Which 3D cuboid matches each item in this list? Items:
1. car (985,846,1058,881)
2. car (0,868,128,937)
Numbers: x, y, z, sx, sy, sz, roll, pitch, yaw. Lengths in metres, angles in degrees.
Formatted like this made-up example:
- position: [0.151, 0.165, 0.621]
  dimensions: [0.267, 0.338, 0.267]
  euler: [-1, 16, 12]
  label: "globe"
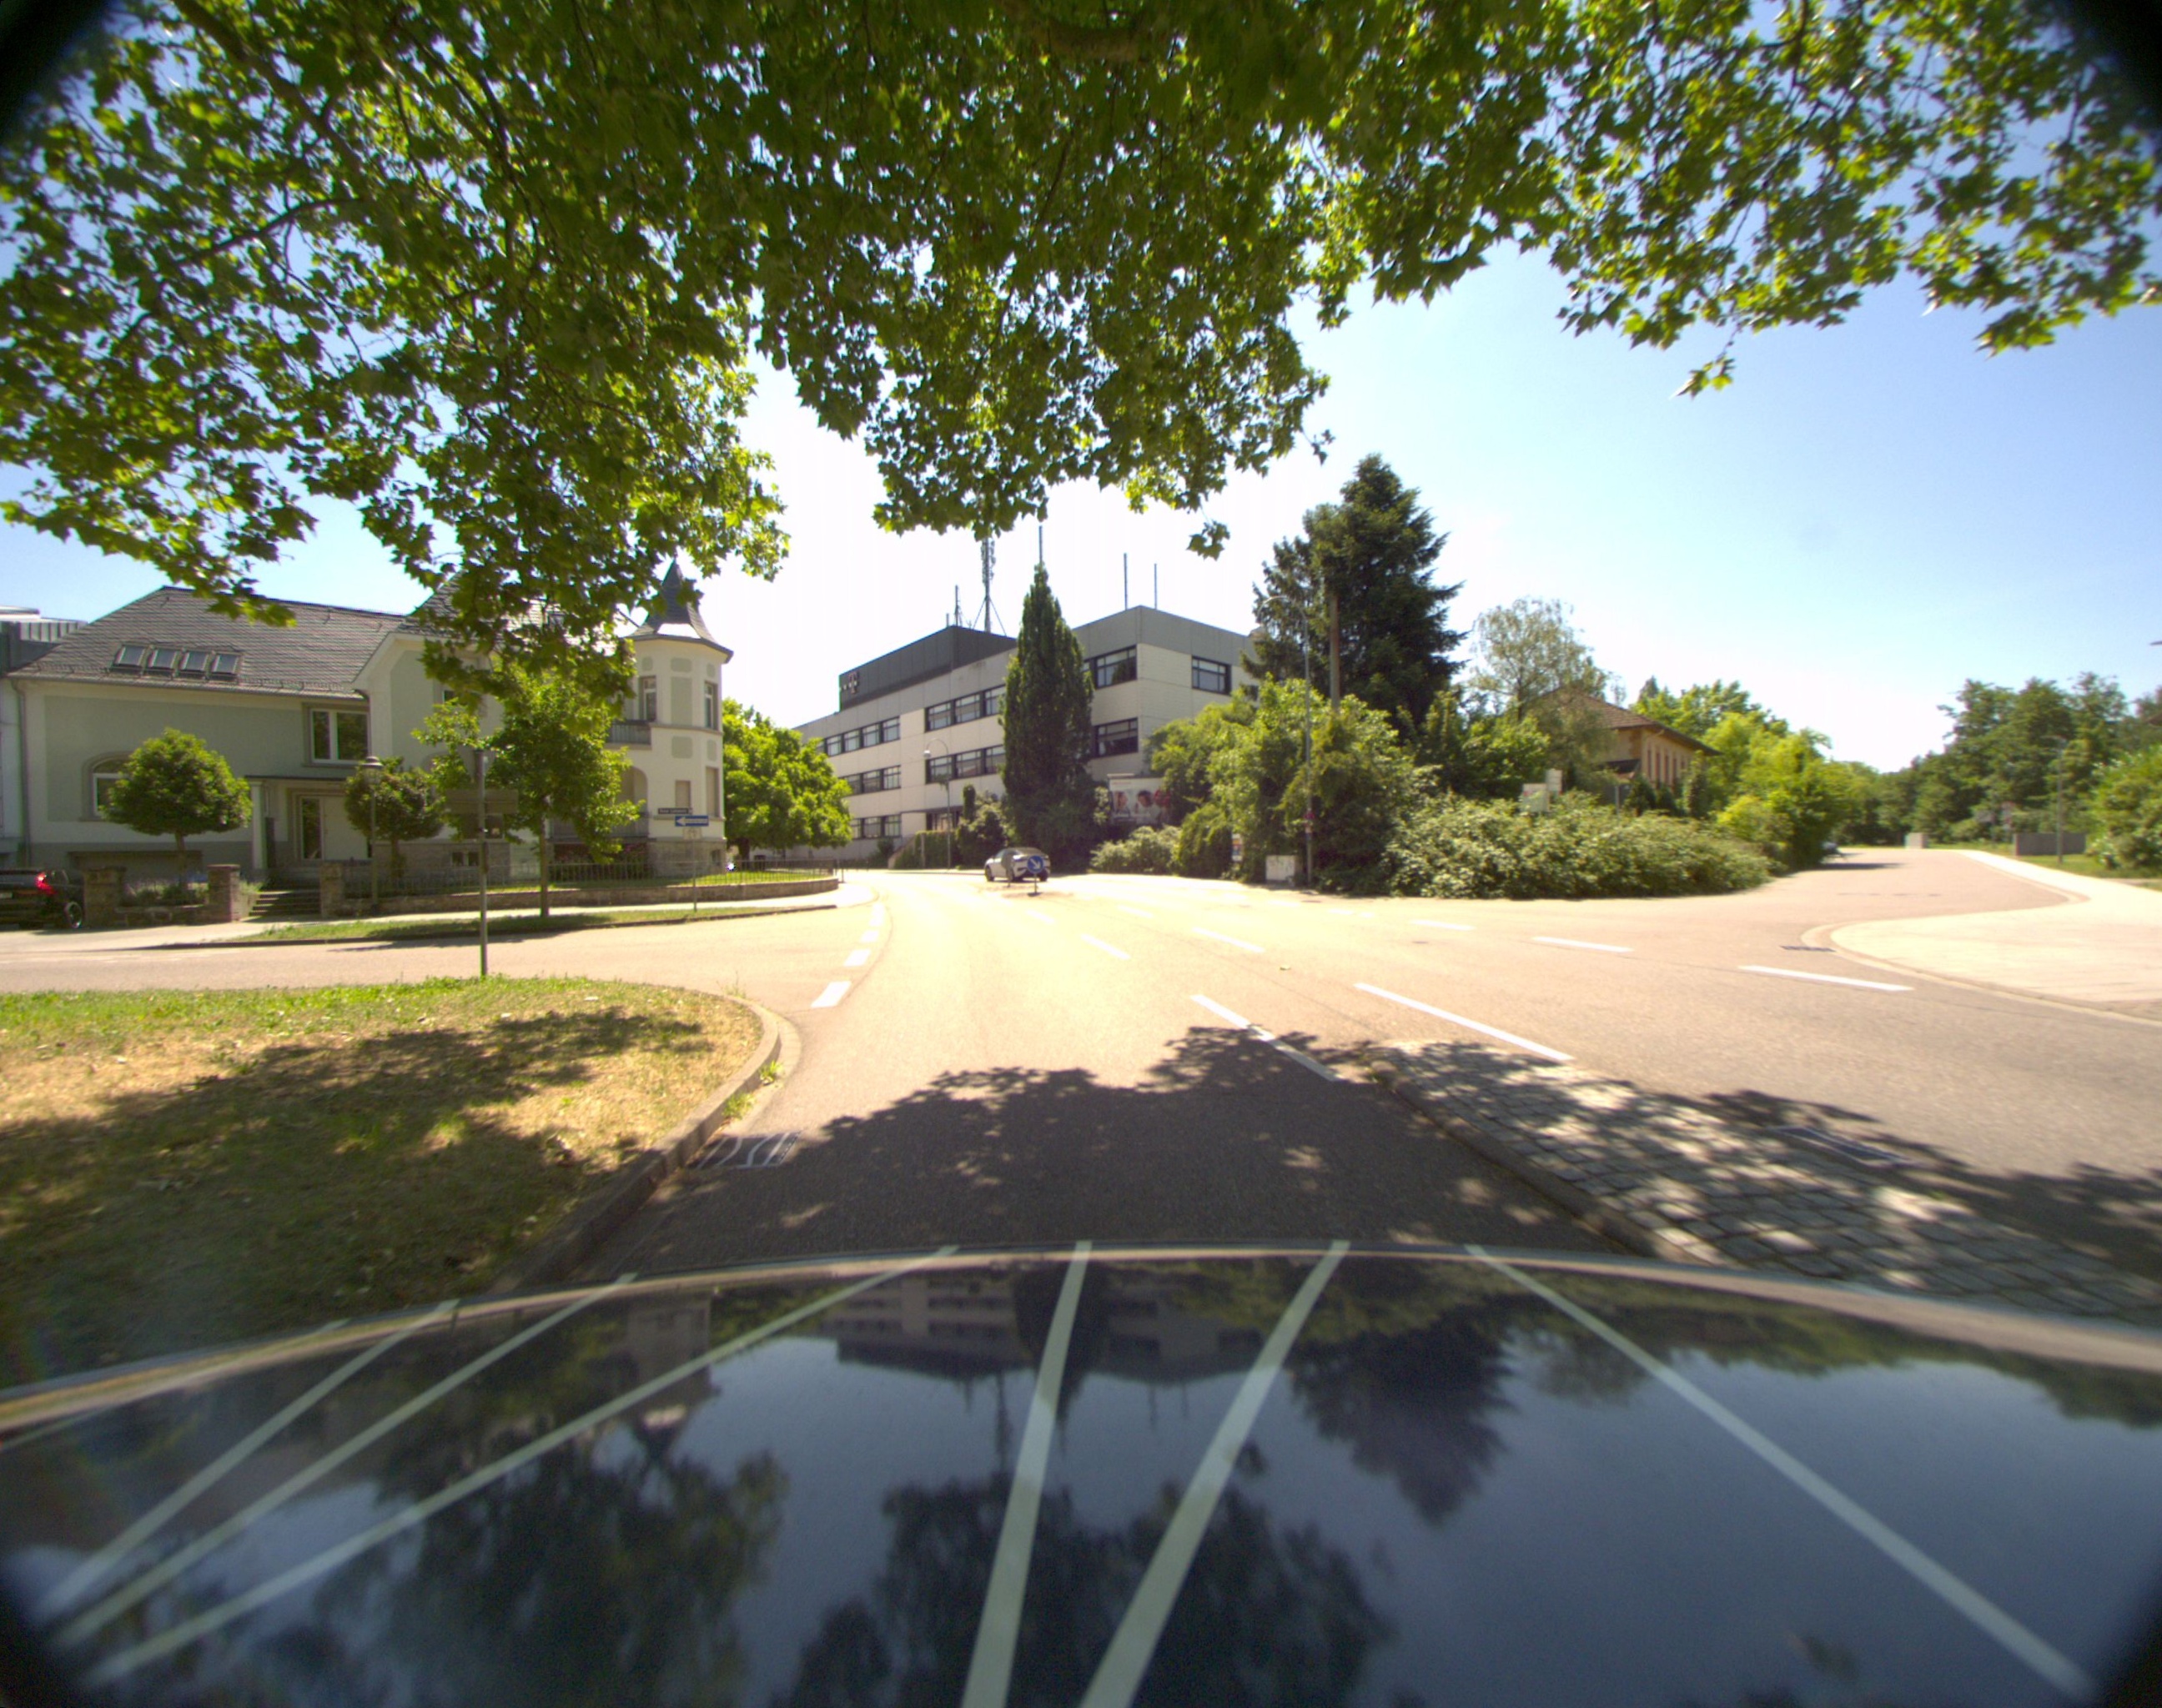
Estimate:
- position: [-2.911, 0.445, 36.364]
  dimensions: [1.853, 1.521, 4.329]
  euler: [-2, 1, -28]
  label: "car"
- position: [-27.254, 1.215, 19.857]
  dimensions: [2.004, 1.559, 3.989]
  euler: [-3, 2, -38]
  label: "car"
